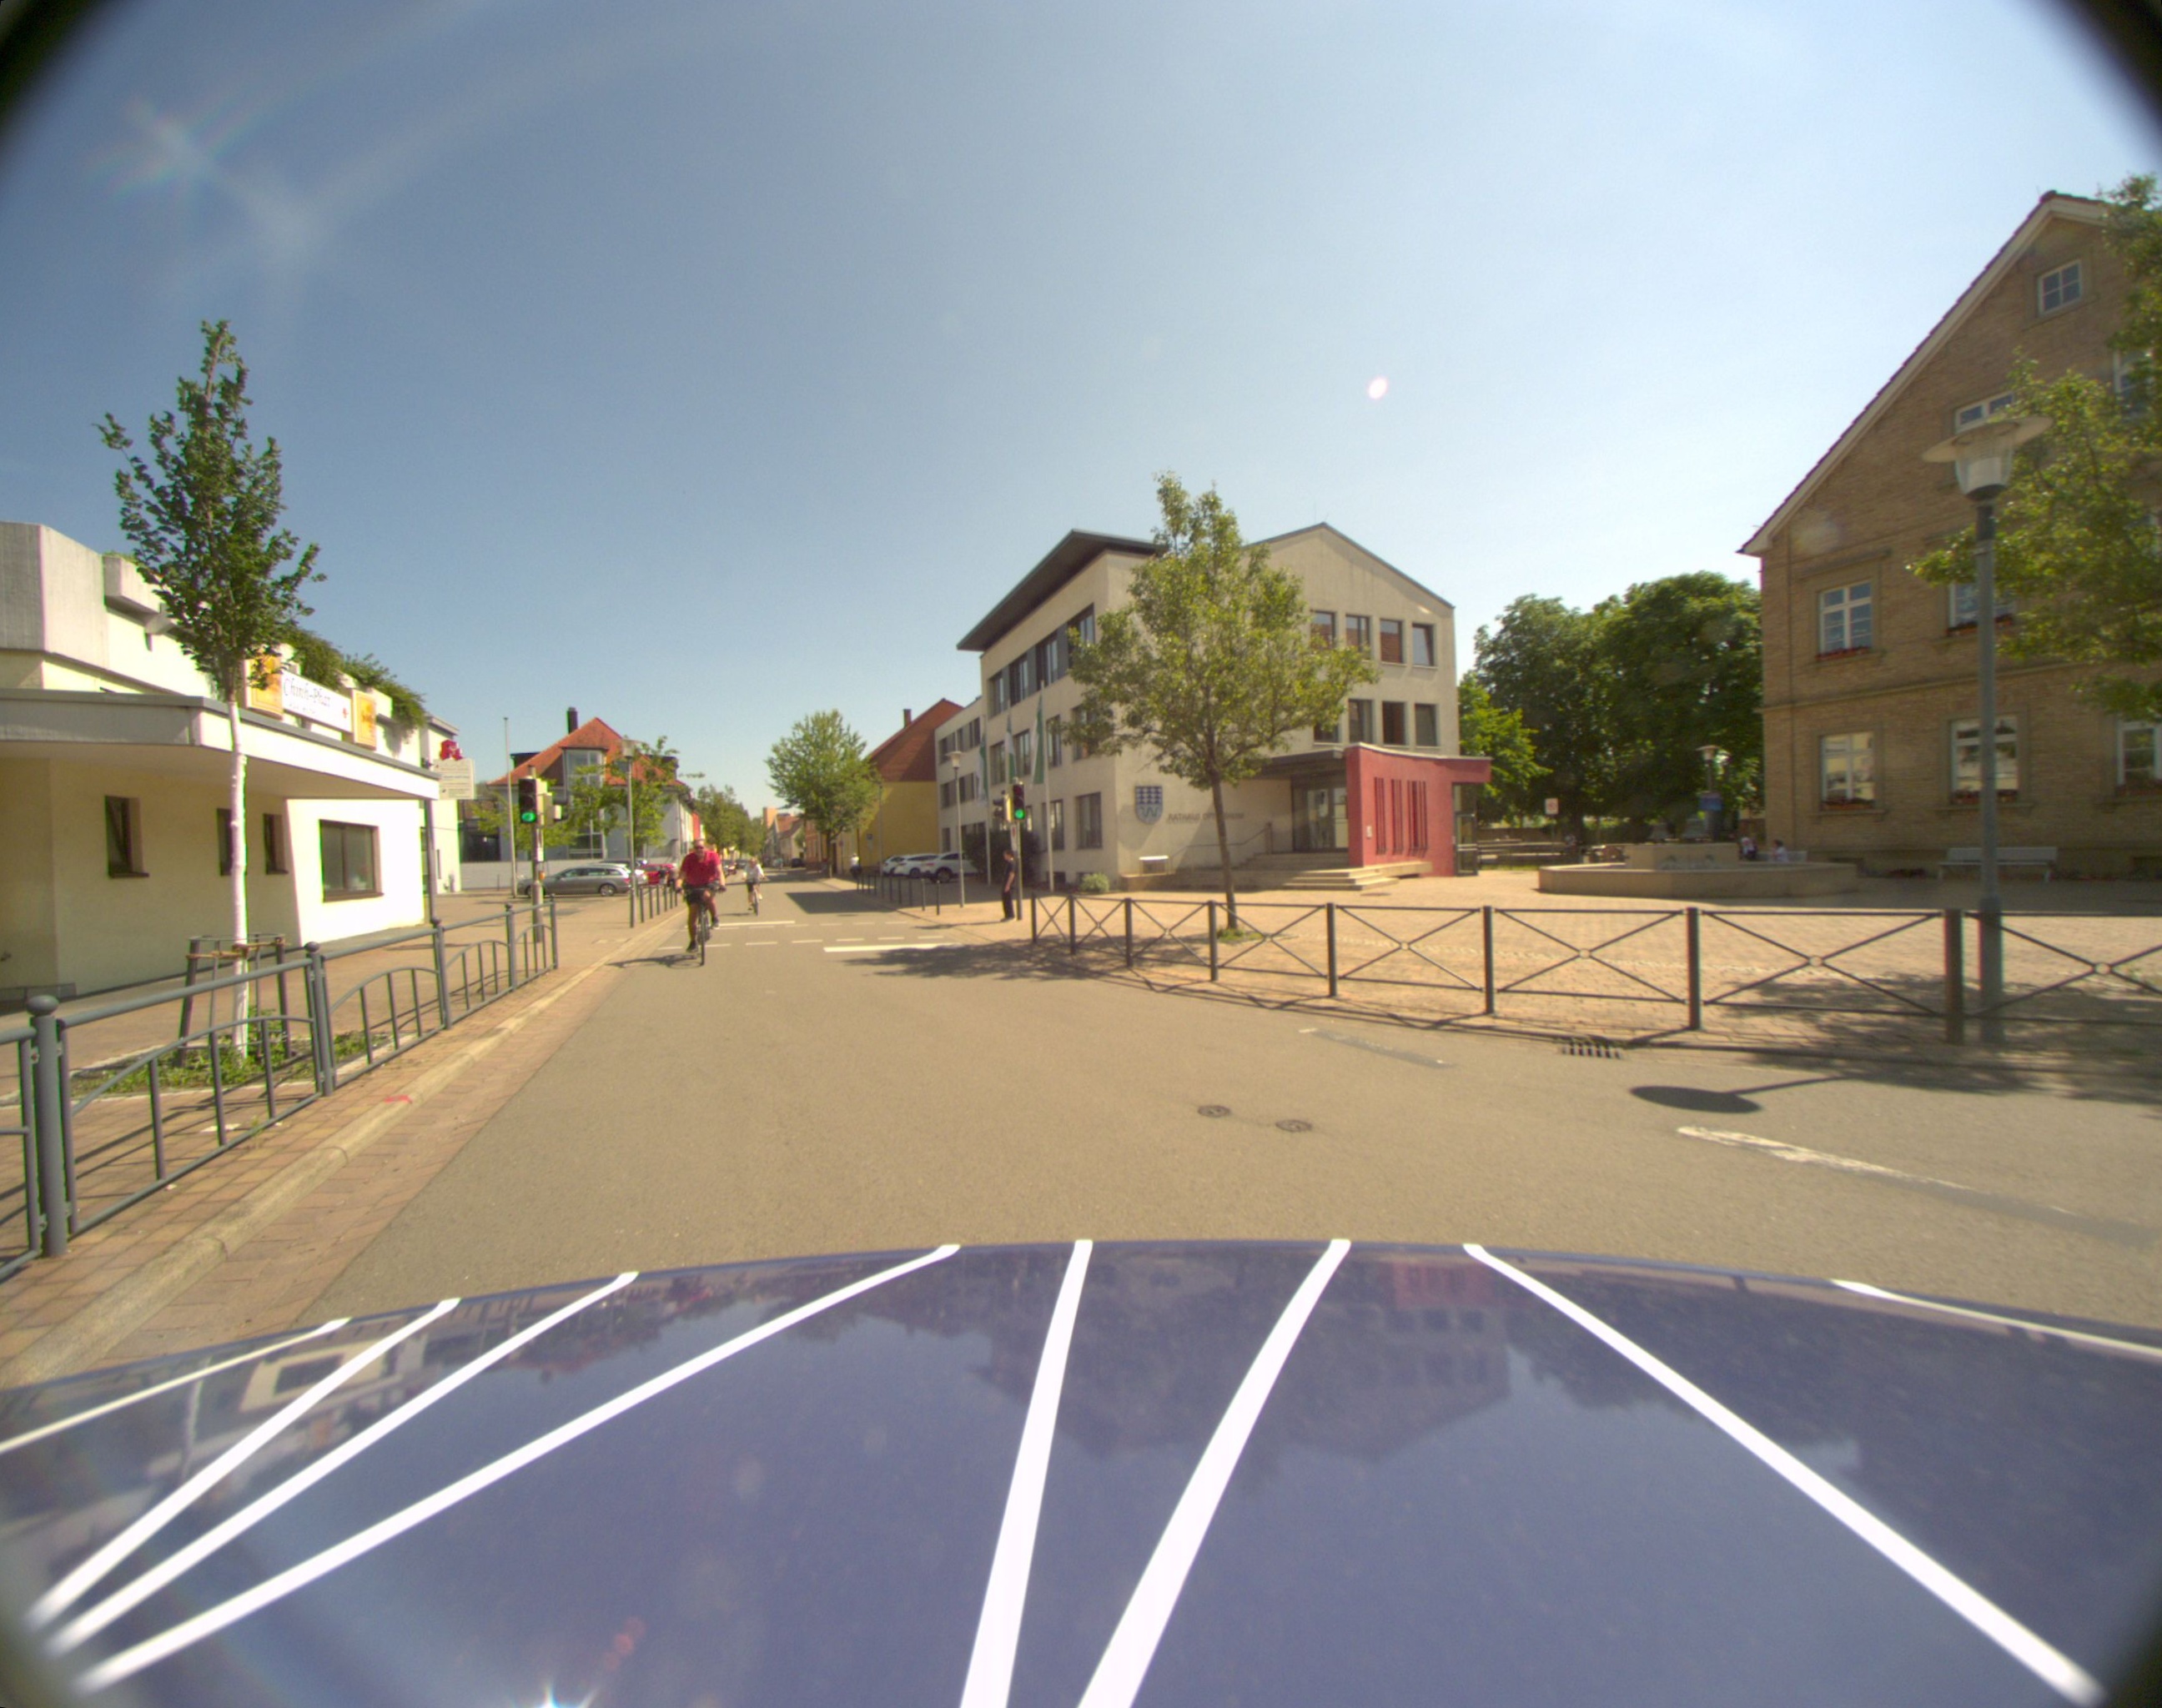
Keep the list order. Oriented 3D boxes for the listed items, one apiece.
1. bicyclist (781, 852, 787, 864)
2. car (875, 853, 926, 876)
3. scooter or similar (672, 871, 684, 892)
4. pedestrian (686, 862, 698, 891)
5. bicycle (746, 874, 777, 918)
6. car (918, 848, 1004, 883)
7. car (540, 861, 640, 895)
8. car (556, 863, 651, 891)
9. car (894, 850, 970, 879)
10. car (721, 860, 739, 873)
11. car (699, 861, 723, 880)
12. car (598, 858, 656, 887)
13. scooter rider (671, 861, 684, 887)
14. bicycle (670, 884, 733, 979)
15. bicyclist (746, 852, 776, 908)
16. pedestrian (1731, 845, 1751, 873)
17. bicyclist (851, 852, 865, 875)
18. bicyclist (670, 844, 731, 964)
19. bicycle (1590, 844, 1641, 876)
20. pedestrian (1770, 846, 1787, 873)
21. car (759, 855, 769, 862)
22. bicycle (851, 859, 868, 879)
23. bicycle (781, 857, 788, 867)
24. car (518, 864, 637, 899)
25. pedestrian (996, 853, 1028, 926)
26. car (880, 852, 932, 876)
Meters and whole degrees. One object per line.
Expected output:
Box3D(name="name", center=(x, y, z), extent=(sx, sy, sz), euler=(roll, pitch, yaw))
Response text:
Box3D(name="bicyclist", center=(-37.789, 0.509, 96.684), extent=(0.539, 1.630, 0.550), euler=(-2, 1, -25))
Box3D(name="car", center=(-12.719, 0.705, 53.611), extent=(3.263, 1.393, 1.371), euler=(-3, 1, -25))
Box3D(name="scooter or similar", center=(-20.530, 1.408, 38.708), extent=(0.412, 0.960, 0.957), euler=(-2, 6, -21))
Box3D(name="pedestrian", center=(-20.630, 1.178, 40.298), extent=(0.514, 1.507, 1.046), euler=(-1, 0, -28))
Box3D(name="bicycle", center=(-9.339, 1.198, 22.176), extent=(0.691, 1.182, 1.795), euler=(-1, 1, -27))
Box3D(name="car", center=(-6.205, 0.594, 39.387), extent=(4.004, 1.539, 1.745), euler=(-3, 1, -25))
Box3D(name="car", center=(-24.383, 1.173, 37.925), extent=(4.054, 1.550, 1.709), euler=(-1, 0, -29))
Box3D(name="car", center=(-26.745, 1.274, 42.693), extent=(4.454, 1.434, 1.652), euler=(0, 0, -31))
Box3D(name="car", center=(-9.244, 0.607, 47.060), extent=(4.331, 1.470, 1.510), euler=(-4, 2, -23))
Box3D(name="car", center=(-36.396, 1.275, 78.728), extent=(1.533, 1.298, 3.243), euler=(0, 0, -29))
Box3D(name="car", center=(-29.416, 1.306, 60.354), extent=(1.533, 1.444, 3.513), euler=(-2, 1, -28))
Box3D(name="car", center=(-28.122, 1.130, 47.139), extent=(3.046, 1.727, 1.342), euler=(-1, 0, -28))
Box3D(name="scooter rider", center=(-20.534, 1.006, 38.674), extent=(0.463, 1.317, 1.131), euler=(-2, 1, -22))
Box3D(name="bicycle", center=(-5.661, 1.094, 11.354), extent=(0.739, 1.183, 1.966), euler=(-2, 1, -27))
Box3D(name="bicyclist", center=(-9.371, 0.737, 22.242), extent=(0.704, 1.573, 0.876), euler=(-3, 2, -26))
Box3D(name="pedestrian", center=(18.852, 0.142, 21.698), extent=(0.362, 0.813, 0.366), euler=(-2, 1, -40))
Box3D(name="bicyclist", center=(-14.553, 0.616, 49.669), extent=(0.717, 1.498, 0.869), euler=(-2, 1, -26))
Box3D(name="bicyclist", center=(-5.709, 0.715, 11.422), extent=(0.704, 1.707, 0.758), euler=(-3, 2, -26))
Box3D(name="bicycle", center=(19.089, 0.212, 27.120), extent=(1.956, 1.000, 0.579), euler=(-4, 2, -25))
Box3D(name="pedestrian", center=(19.251, 0.150, 20.974), extent=(0.358, 0.728, 0.288), euler=(-2, 1, -40))
Box3D(name="car", center=(-76.084, 1.091, 182.356), extent=(2.002, 1.696, 3.992), euler=(-2, 1, -24))
Box3D(name="bicycle", center=(-14.450, 0.978, 49.560), extent=(0.712, 1.245, 1.968), euler=(-2, 1, -26))
Box3D(name="bicycle", center=(-37.691, 1.018, 96.530), extent=(0.596, 1.183, 1.721), euler=(-3, 1, -25))
Box3D(name="car", center=(-23.257, 1.239, 35.293), extent=(4.453, 1.457, 1.686), euler=(0, 1, -29))
Box3D(name="pedestrian", center=(-1.569, 0.796, 17.304), extent=(0.549, 1.610, 0.557), euler=(-1, 2, 11))
Box3D(name="car", center=(-11.890, 0.683, 51.566), extent=(3.144, 1.442, 1.639), euler=(-3, 1, -22))
